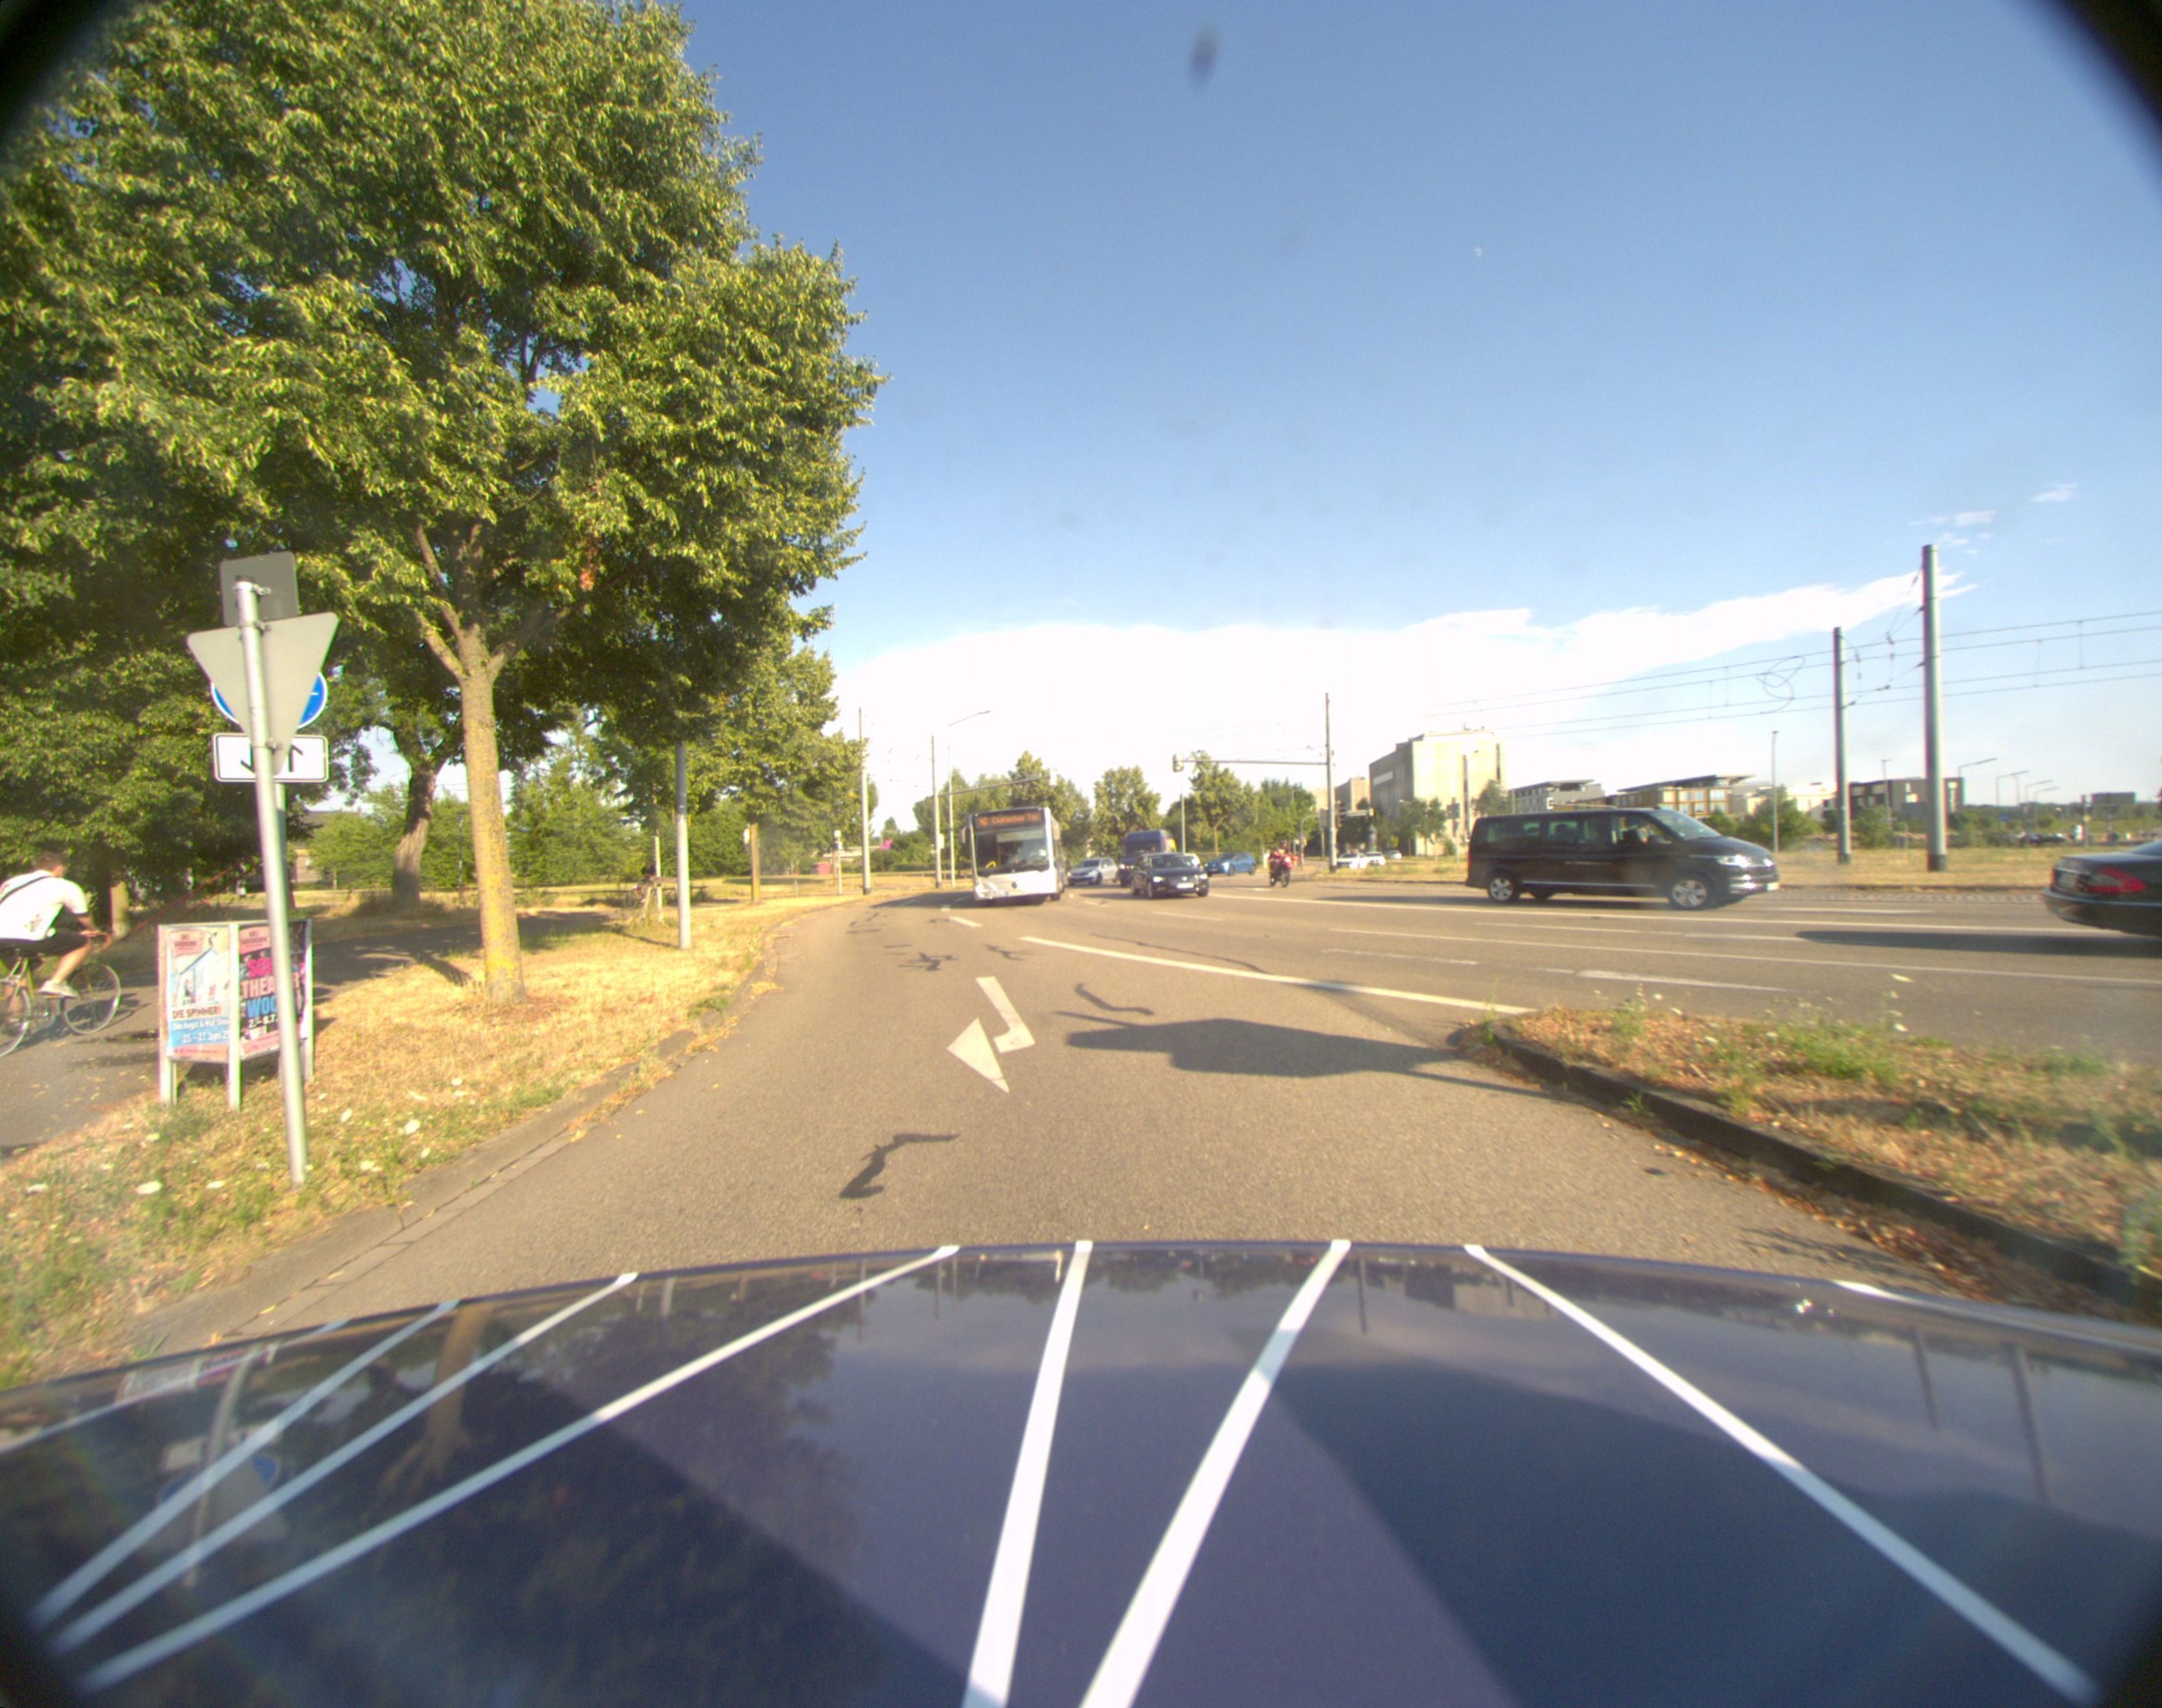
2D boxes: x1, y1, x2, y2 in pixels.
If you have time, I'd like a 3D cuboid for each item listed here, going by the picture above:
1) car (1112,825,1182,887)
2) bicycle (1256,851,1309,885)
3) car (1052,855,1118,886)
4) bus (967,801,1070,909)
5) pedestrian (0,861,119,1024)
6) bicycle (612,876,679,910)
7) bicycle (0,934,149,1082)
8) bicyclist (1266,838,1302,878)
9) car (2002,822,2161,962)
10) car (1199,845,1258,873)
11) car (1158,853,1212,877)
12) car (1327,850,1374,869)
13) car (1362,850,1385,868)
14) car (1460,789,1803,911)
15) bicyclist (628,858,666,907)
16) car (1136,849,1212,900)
[{"bbox_3d":[3.196,0.132,35.379,1.996,2.578,5.493,-3,-1,17],"label":"car"},{"bbox_3d":[7.383,0.490,27.935,0.821,1.177,2.028,-2,0,-22],"label":"bicycle"},{"bbox_3d":[0.284,0.891,41.773,1.995,1.514,4.007,-1,0,27],"label":"car"},{"bbox_3d":[-1.912,0.025,28.233,2.664,3.044,12.178,-2,0,0],"label":"bus"},{"bbox_3d":[-9.420,0.762,6.864,0.654,1.383,0.765,-1,1,-31],"label":"pedestrian"},{"bbox_3d":[-16.219,1.442,28.370,0.639,1.116,2.129,-2,0,27],"label":"bicycle"},{"bbox_3d":[-9.472,1.354,6.951,0.535,1.049,1.909,-2,0,-31],"label":"bicycle"},{"bbox_3d":[7.457,0.137,27.942,0.884,1.377,0.771,-5,2,-21],"label":"bicyclist"},{"bbox_3d":[12.728,0.320,7.279,4.688,1.398,1.847,-2,0,40],"label":"car"},{"bbox_3d":[9.513,0.333,48.931,1.866,1.652,4.008,-1,0,42],"label":"car"},{"bbox_3d":[7.357,0.747,53.541,1.677,1.508,4.008,-1,0,44],"label":"car"},{"bbox_3d":[22.071,0.445,62.172,2.089,1.376,4.598,-2,0,40],"label":"car"},{"bbox_3d":[28.665,0.495,74.578,1.995,1.630,4.006,-2,0,21],"label":"car"},{"bbox_3d":[10.860,-0.054,15.518,2.098,2.035,5.232,-2,0,-30],"label":"car"},{"bbox_3d":[-16.246,1.060,28.442,0.726,1.790,0.940,-2,1,27],"label":"bicyclist"},{"bbox_3d":[2.936,0.609,24.811,1.810,1.428,4.386,-2,0,-1],"label":"car"}]
